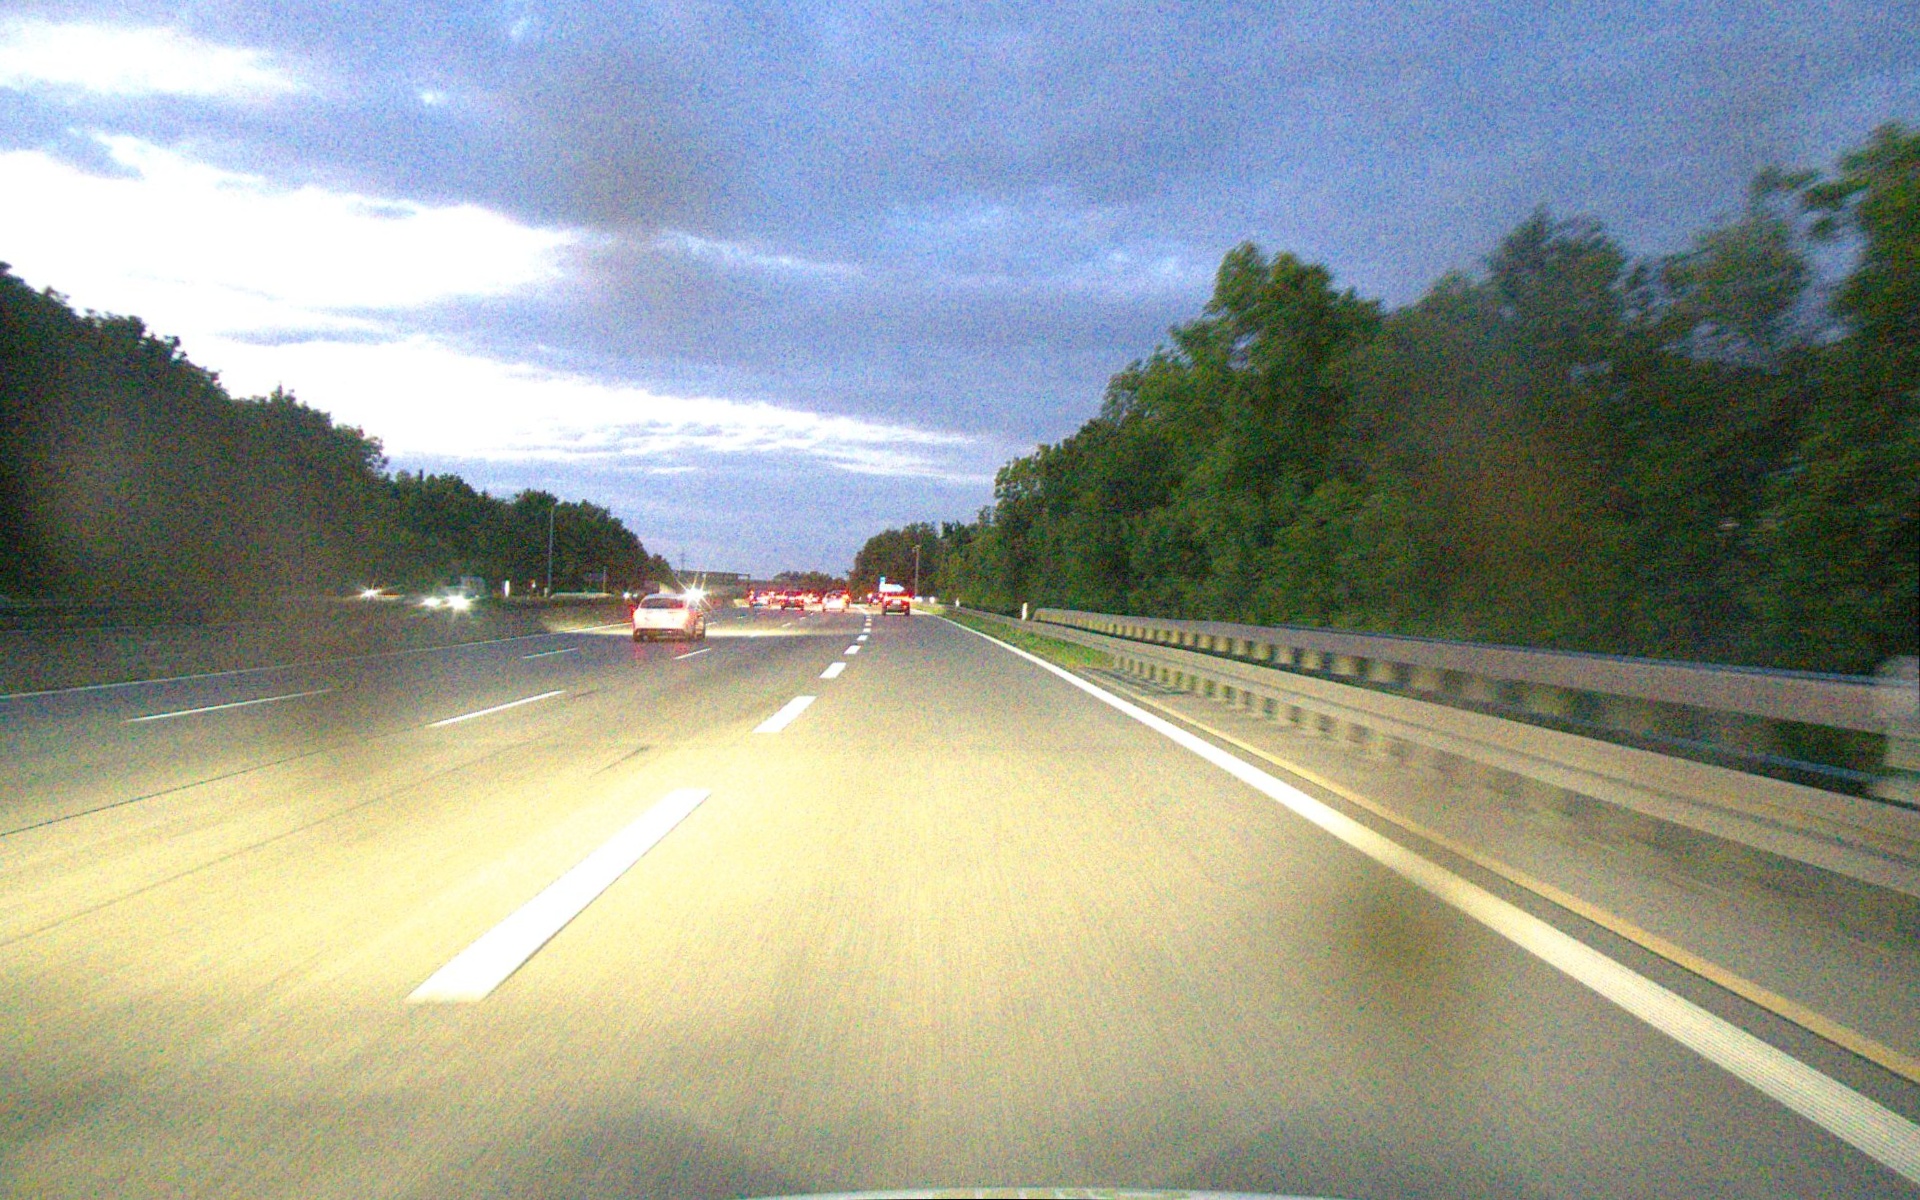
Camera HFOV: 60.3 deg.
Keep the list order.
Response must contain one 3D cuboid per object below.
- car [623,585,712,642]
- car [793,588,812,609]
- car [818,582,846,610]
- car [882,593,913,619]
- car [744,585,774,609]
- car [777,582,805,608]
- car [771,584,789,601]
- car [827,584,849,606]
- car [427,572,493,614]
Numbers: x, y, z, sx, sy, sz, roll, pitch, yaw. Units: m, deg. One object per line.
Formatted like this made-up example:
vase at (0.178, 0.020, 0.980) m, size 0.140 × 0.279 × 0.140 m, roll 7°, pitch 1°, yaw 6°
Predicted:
car at (-8.996, 0.401, 51.243) m, size 1.953 × 1.671 × 4.554 m, roll 0°, pitch 0°, yaw 0°
car at (-16.451, -0.153, 172.713) m, size 1.955 × 2.049 × 3.994 m, roll 1°, pitch 0°, yaw -7°
car at (-9.602, -0.277, 124.378) m, size 1.954 × 2.049 × 3.997 m, roll 1°, pitch 0°, yaw -4°
car at (-4.209, 0.408, 110.715) m, size 1.954 × 1.688 × 4.312 m, roll 0°, pitch 0°, yaw -3°
car at (-17.317, -0.283, 142.730) m, size 2.061 × 2.049 × 4.000 m, roll 0°, pitch 0°, yaw 0°
car at (-13.412, -0.390, 131.419) m, size 2.030 × 2.049 × 3.998 m, roll 0°, pitch 0°, yaw -2°
car at (-23.994, -1.031, 220.725) m, size 1.954 × 2.048 × 3.999 m, roll 5°, pitch 0°, yaw -1°
car at (-11.302, -0.471, 153.550) m, size 1.954 × 2.049 × 3.998 m, roll 0°, pitch 0°, yaw -3°
car at (-25.035, -0.338, 82.983) m, size 1.953 × 2.049 × 4.494 m, roll 1°, pitch 0°, yaw -1°
